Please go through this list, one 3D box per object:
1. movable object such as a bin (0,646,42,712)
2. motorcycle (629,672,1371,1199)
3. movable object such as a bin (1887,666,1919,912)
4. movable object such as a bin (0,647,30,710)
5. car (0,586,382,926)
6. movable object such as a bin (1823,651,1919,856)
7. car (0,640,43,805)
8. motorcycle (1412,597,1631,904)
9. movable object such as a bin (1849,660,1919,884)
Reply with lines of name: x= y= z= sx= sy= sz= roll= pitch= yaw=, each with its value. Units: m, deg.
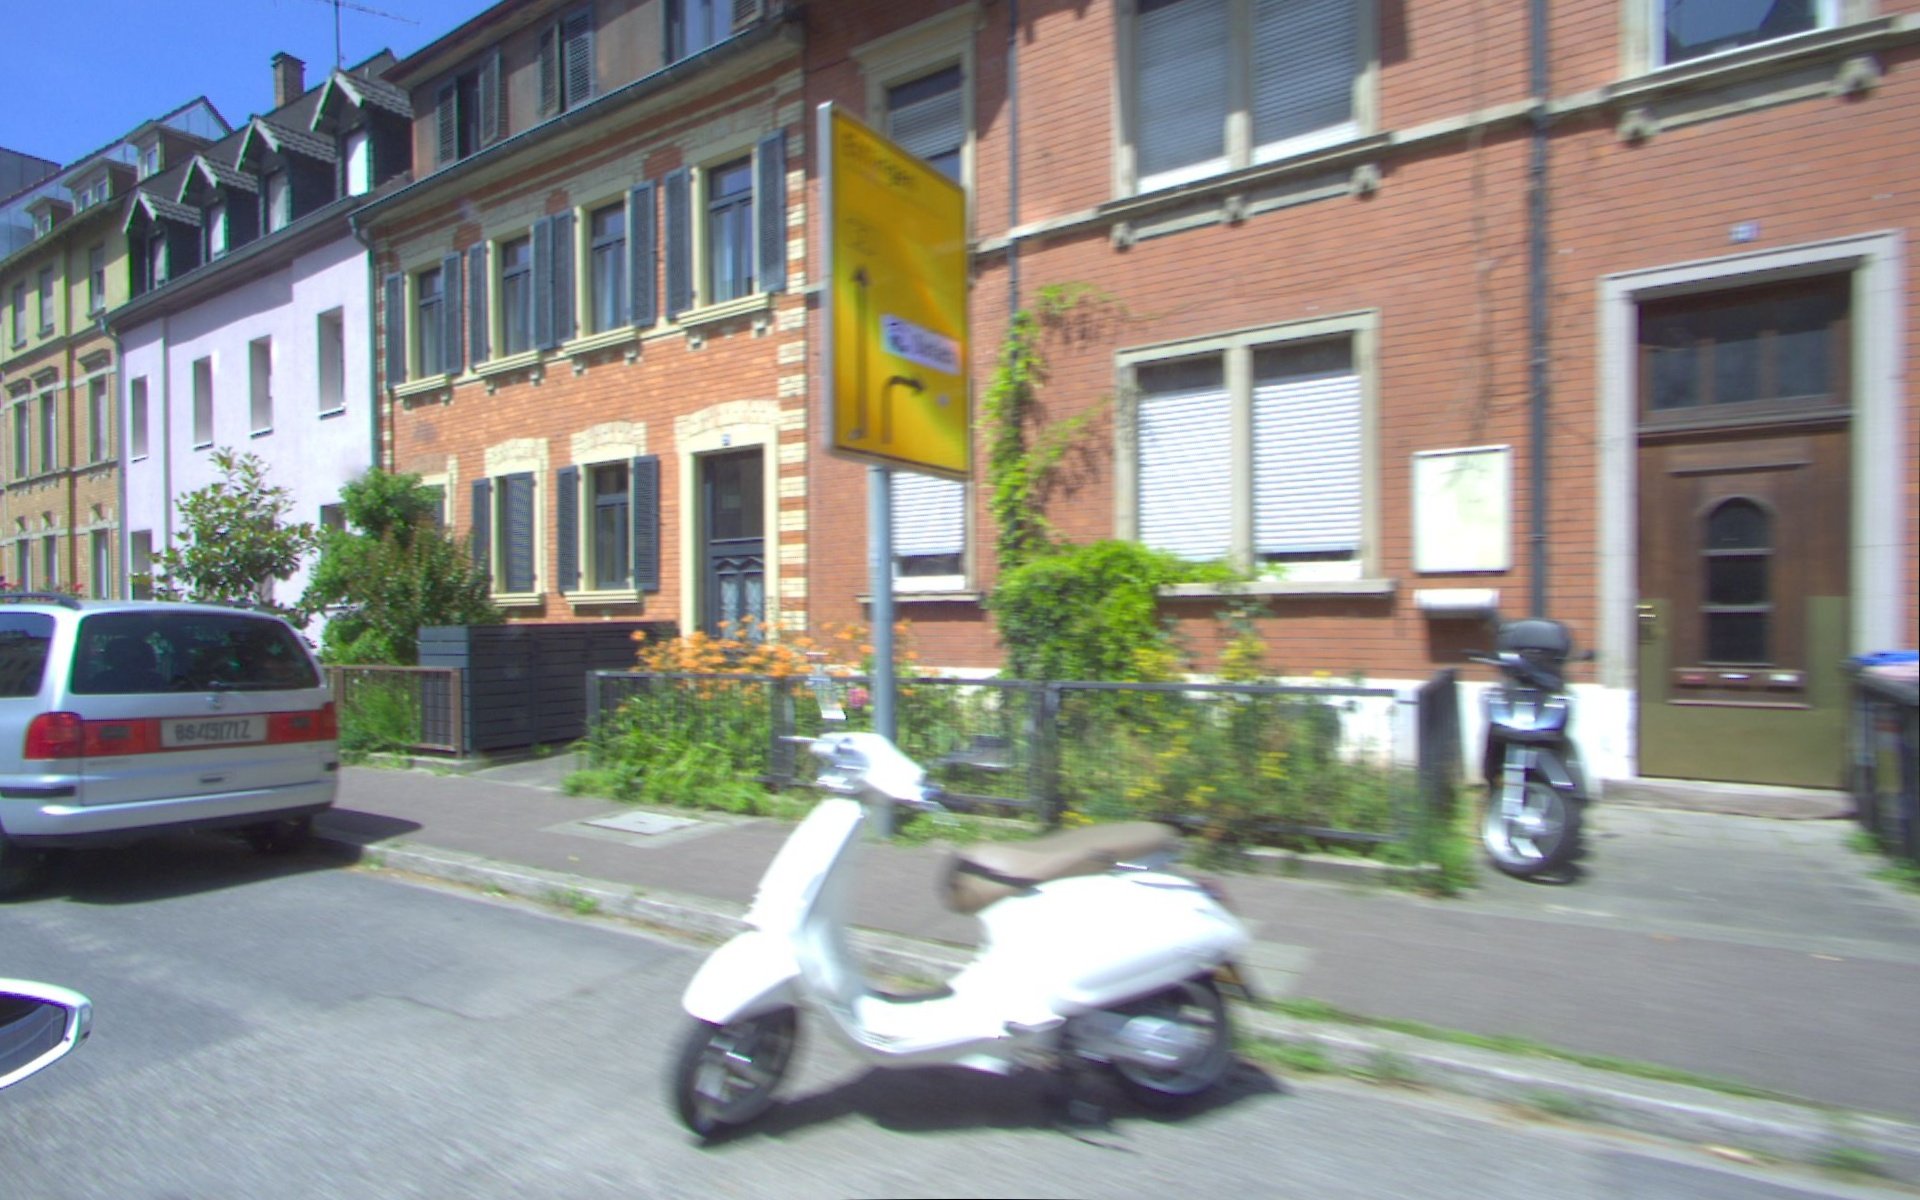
movable object such as a bin: x=-16.483 y=1.358 z=17.409 sx=0.674 sy=1.097 sz=0.650 roll=-1 pitch=-1 yaw=35
motorcycle: x=0.053 y=0.955 z=3.030 sx=1.962 sy=1.403 sz=1.110 roll=0 pitch=-2 yaw=-21
movable object such as a bin: x=4.736 y=0.857 z=4.505 sx=0.717 sy=1.090 sz=0.556 roll=-1 pitch=-1 yaw=32
movable object such as a bin: x=-17.135 y=1.400 z=17.876 sx=0.674 sy=1.097 sz=0.650 roll=-1 pitch=-1 yaw=35
car: x=-6.417 y=0.894 z=7.144 sx=4.547 sy=1.769 sz=1.860 roll=-1 pitch=-3 yaw=29
movable object such as a bin: x=5.415 y=0.840 z=5.628 sx=0.750 sy=1.090 sz=0.608 roll=-1 pitch=-1 yaw=32
car: x=-10.924 y=1.125 z=9.653 sx=4.245 sy=1.505 sz=1.859 roll=-1 pitch=-3 yaw=30
motorcycle: x=3.295 y=0.722 z=5.889 sx=0.924 sy=1.427 sz=2.125 roll=-1 pitch=1 yaw=30
movable object such as a bin: x=5.057 y=0.852 z=5.050 sx=0.738 sy=1.068 sz=0.657 roll=-1 pitch=-1 yaw=32
